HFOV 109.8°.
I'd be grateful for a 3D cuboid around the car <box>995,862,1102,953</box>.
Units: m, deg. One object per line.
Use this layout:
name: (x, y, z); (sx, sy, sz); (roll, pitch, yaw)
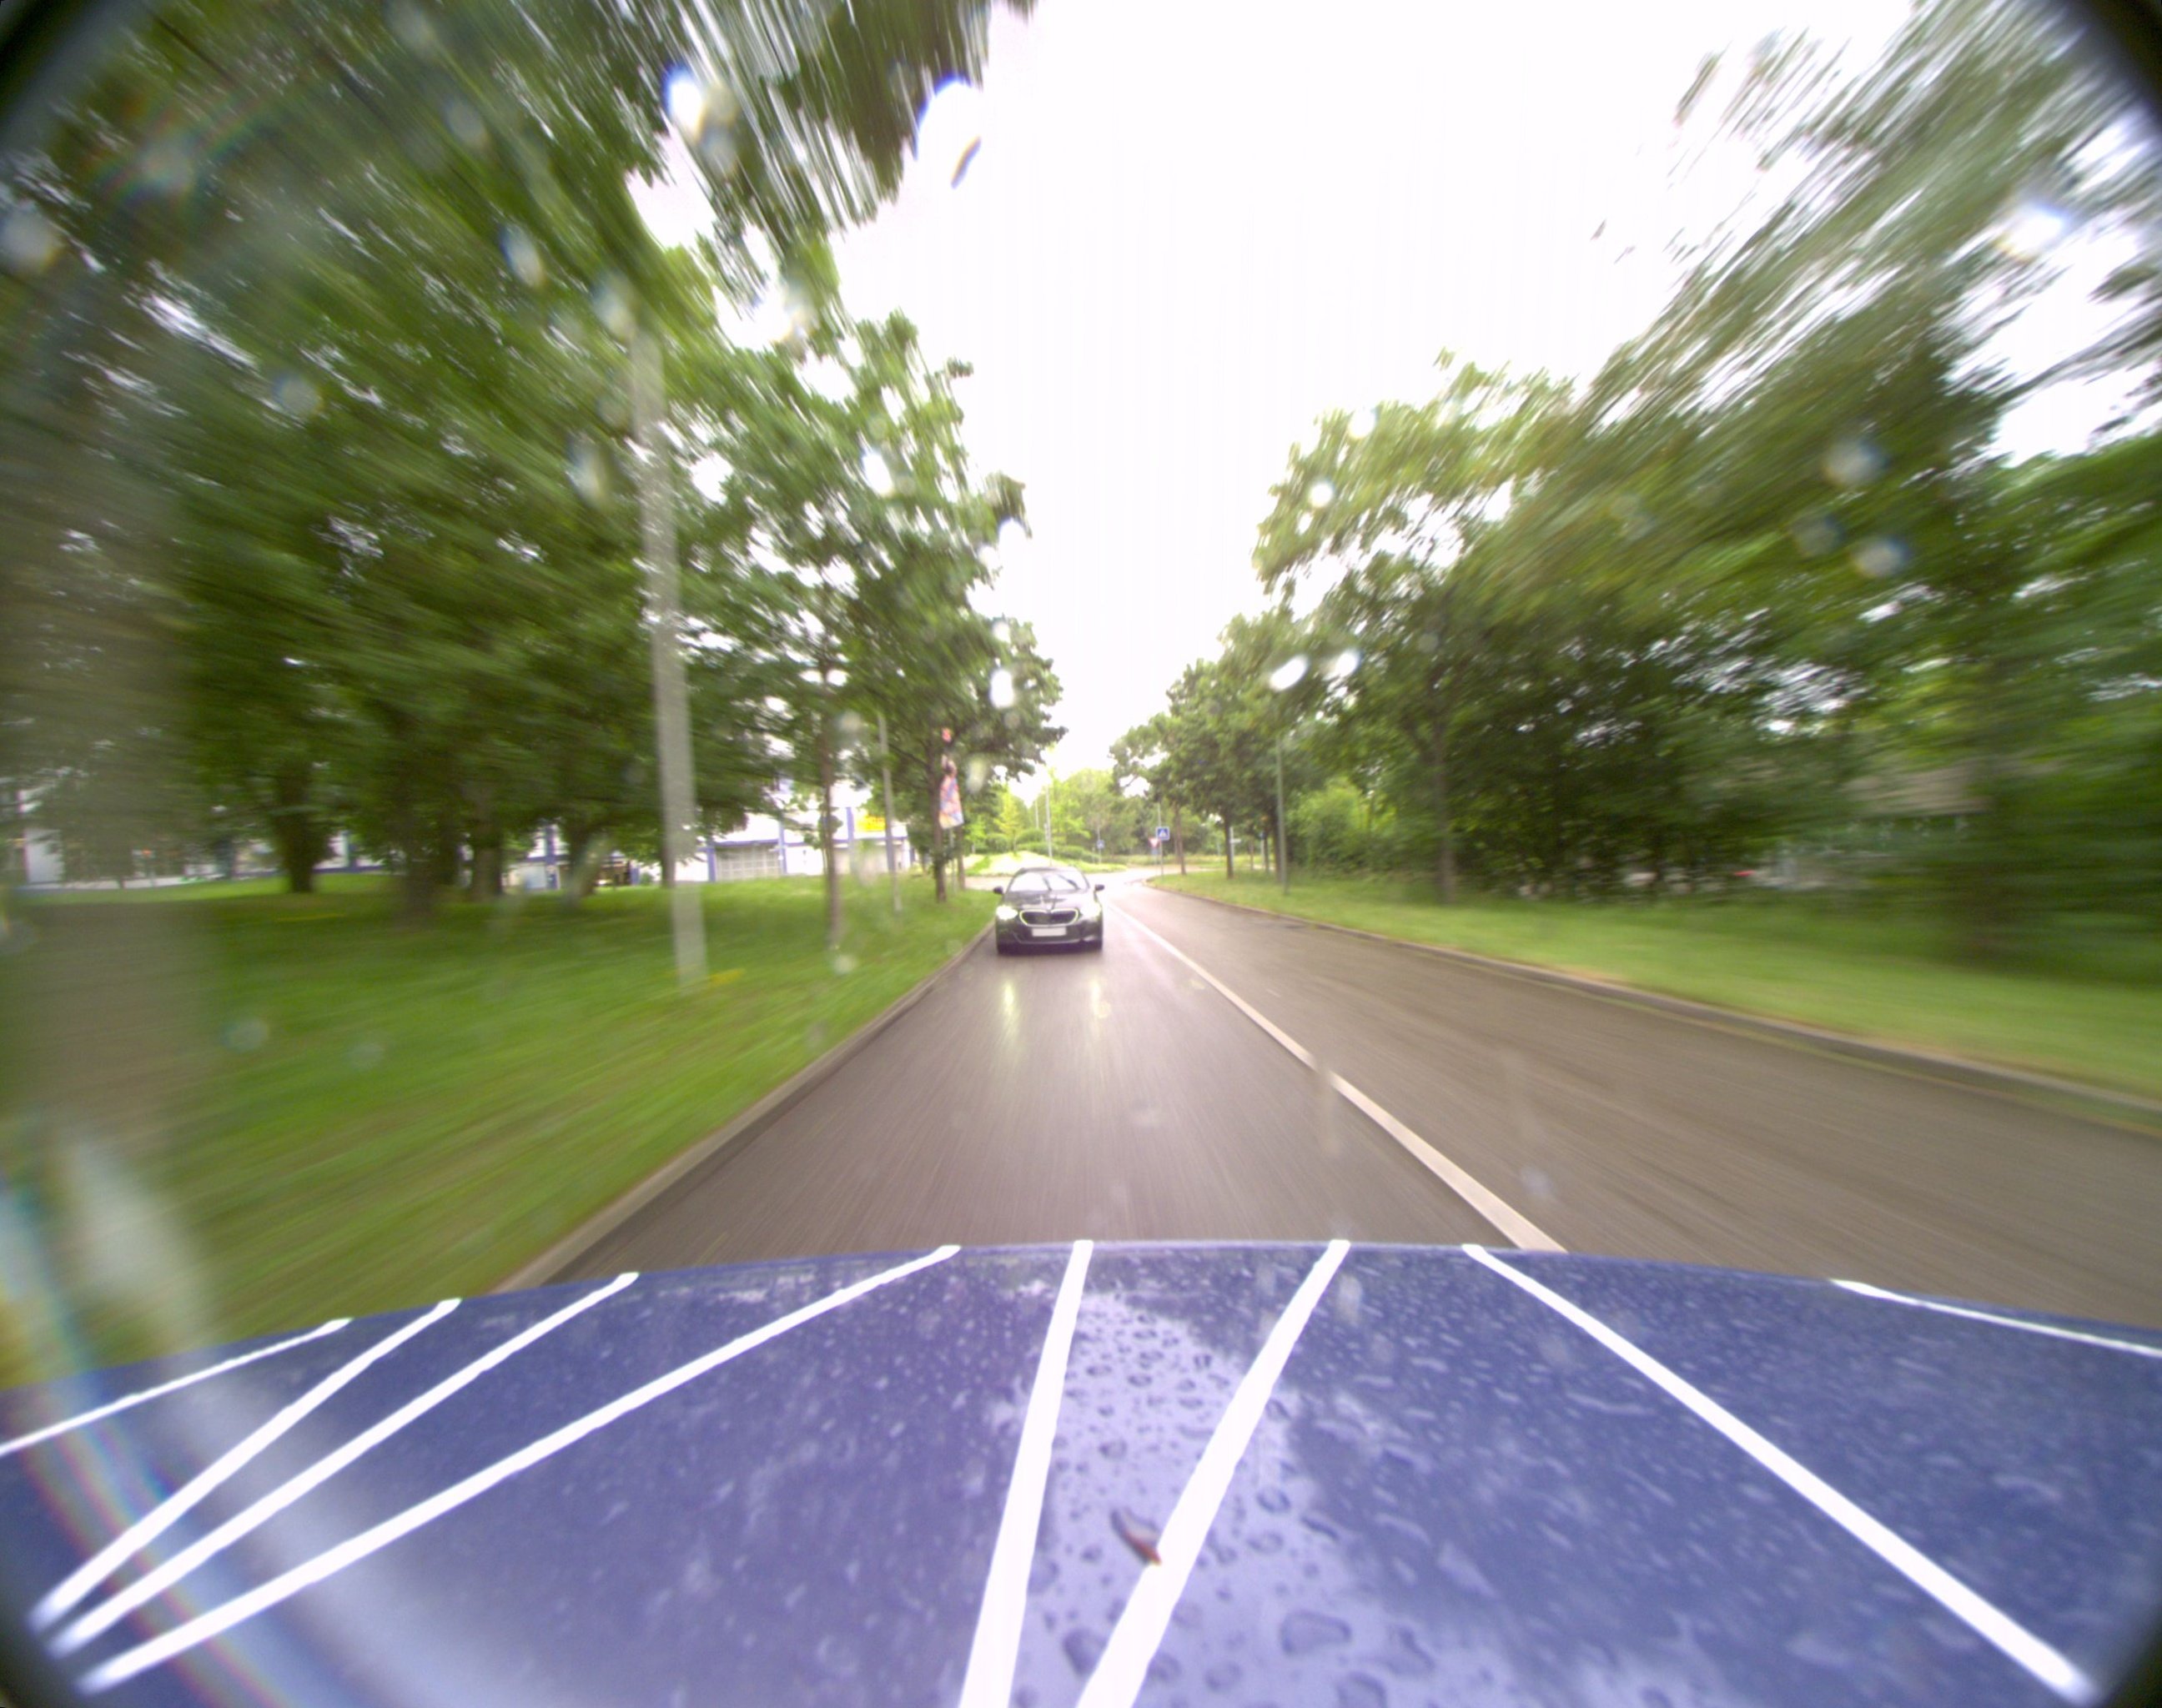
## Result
car: (-0.632, 0.998, 15.798); (1.845, 1.471, 3.999); (-4, 1, -1)
